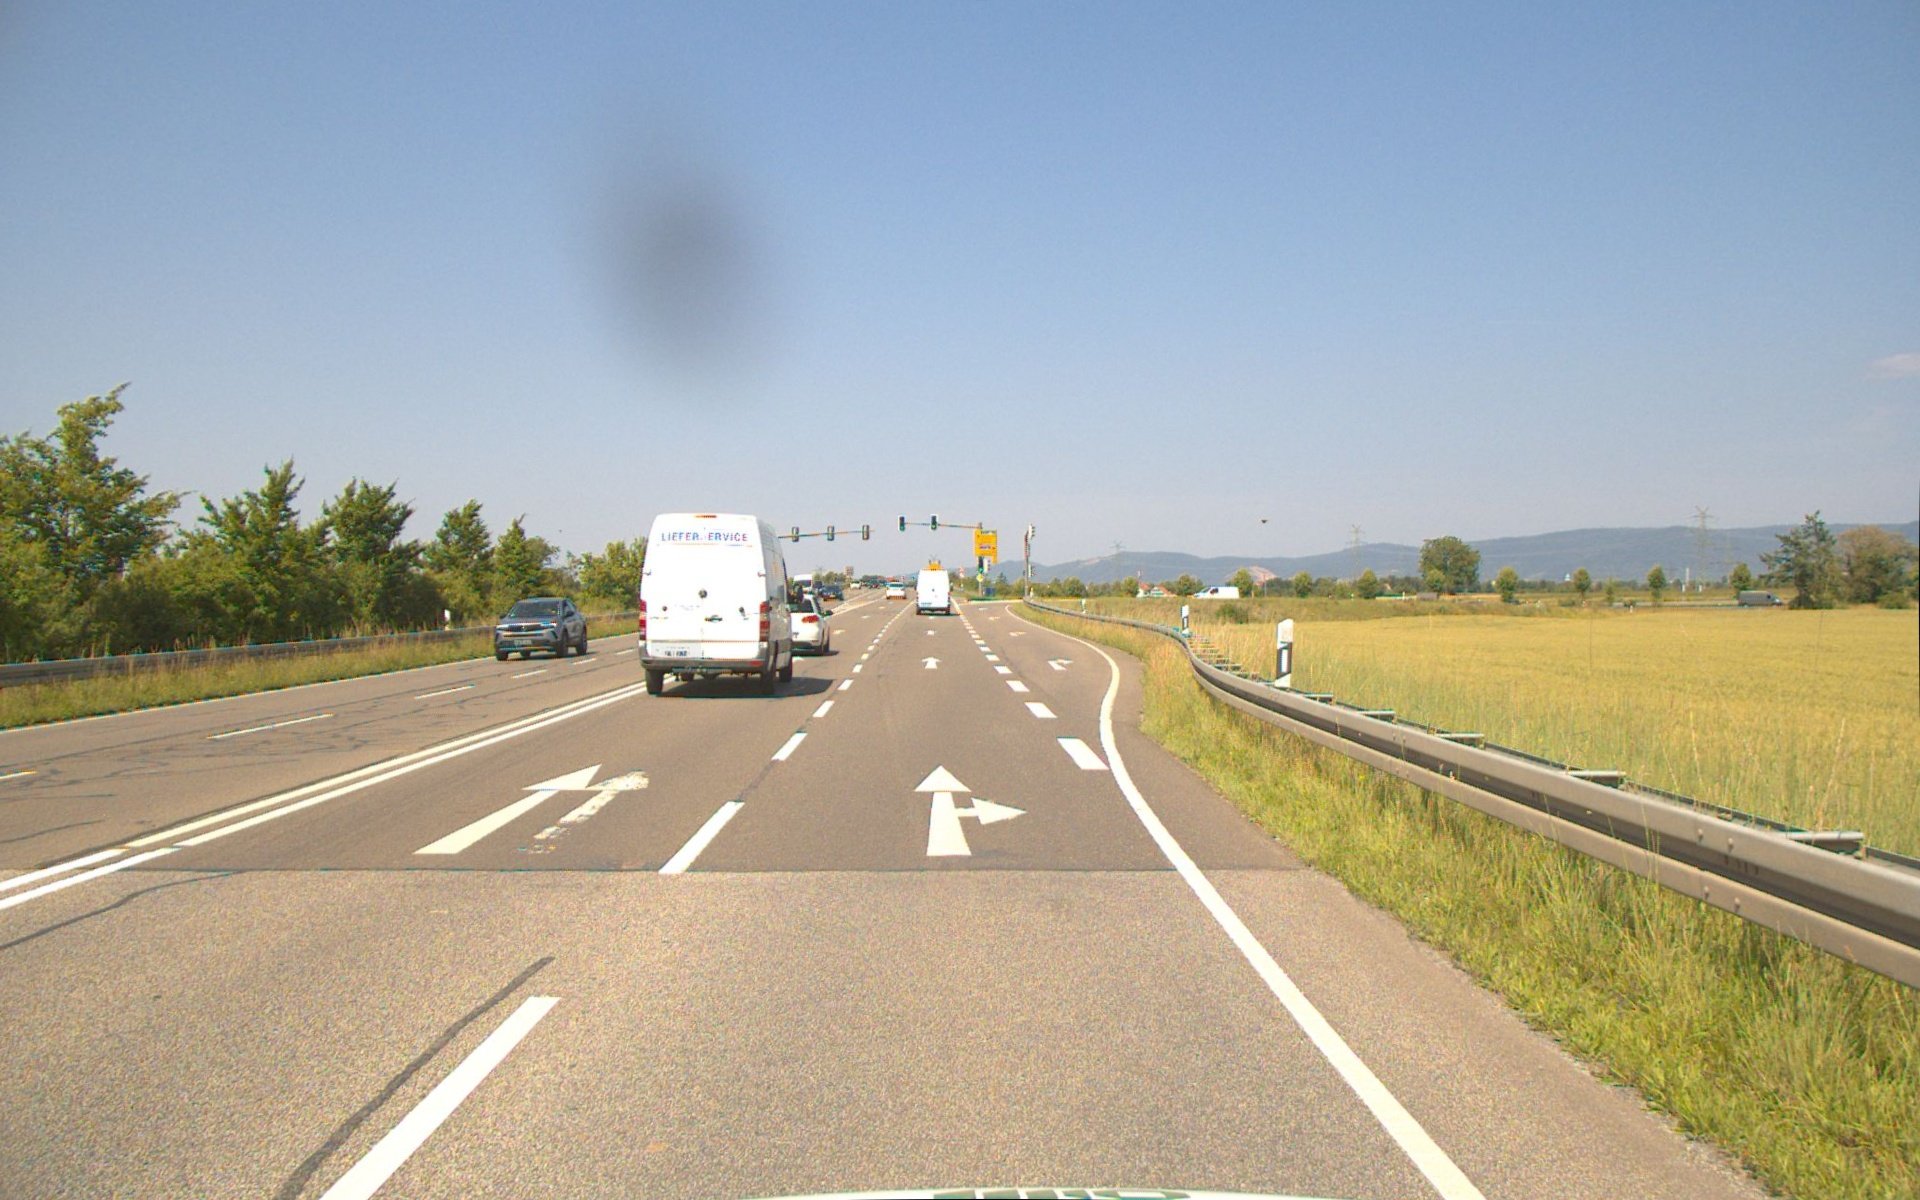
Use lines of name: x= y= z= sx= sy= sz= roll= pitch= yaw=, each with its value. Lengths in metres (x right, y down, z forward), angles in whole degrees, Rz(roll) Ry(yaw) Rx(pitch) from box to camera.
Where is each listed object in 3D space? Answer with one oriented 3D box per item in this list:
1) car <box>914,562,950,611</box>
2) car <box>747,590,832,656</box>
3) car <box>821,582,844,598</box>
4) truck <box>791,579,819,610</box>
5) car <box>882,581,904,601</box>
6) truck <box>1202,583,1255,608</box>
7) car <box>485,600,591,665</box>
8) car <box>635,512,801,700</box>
car: x=-1.622 y=-0.740 z=95.340 sx=1.953 sy=2.742 sz=4.968 roll=0 pitch=0 yaw=-1
car: x=-4.174 y=0.535 z=41.110 sx=1.763 sy=1.534 sz=4.195 roll=0 pitch=1 yaw=-1
car: x=-12.013 y=-0.933 z=155.552 sx=1.819 sy=1.448 sz=4.000 roll=0 pitch=-1 yaw=0
truck: x=-15.556 y=-0.548 z=166.204 sx=2.250 sy=3.009 sz=5.282 roll=0 pitch=-1 yaw=0
car: x=-6.219 y=-0.798 z=154.359 sx=1.953 sy=1.733 sz=4.274 roll=1 pitch=-1 yaw=-1
truck: x=26.631 y=-0.465 z=164.145 sx=4.764 sy=2.361 sz=1.991 roll=1 pitch=-1 yaw=-16
car: x=-10.997 y=0.805 z=43.317 sx=1.783 sy=1.534 sz=4.125 roll=-2 pitch=0 yaw=-2
car: x=-3.731 y=0.070 z=26.527 sx=1.998 sy=2.666 sz=5.738 roll=1 pitch=0 yaw=-2
